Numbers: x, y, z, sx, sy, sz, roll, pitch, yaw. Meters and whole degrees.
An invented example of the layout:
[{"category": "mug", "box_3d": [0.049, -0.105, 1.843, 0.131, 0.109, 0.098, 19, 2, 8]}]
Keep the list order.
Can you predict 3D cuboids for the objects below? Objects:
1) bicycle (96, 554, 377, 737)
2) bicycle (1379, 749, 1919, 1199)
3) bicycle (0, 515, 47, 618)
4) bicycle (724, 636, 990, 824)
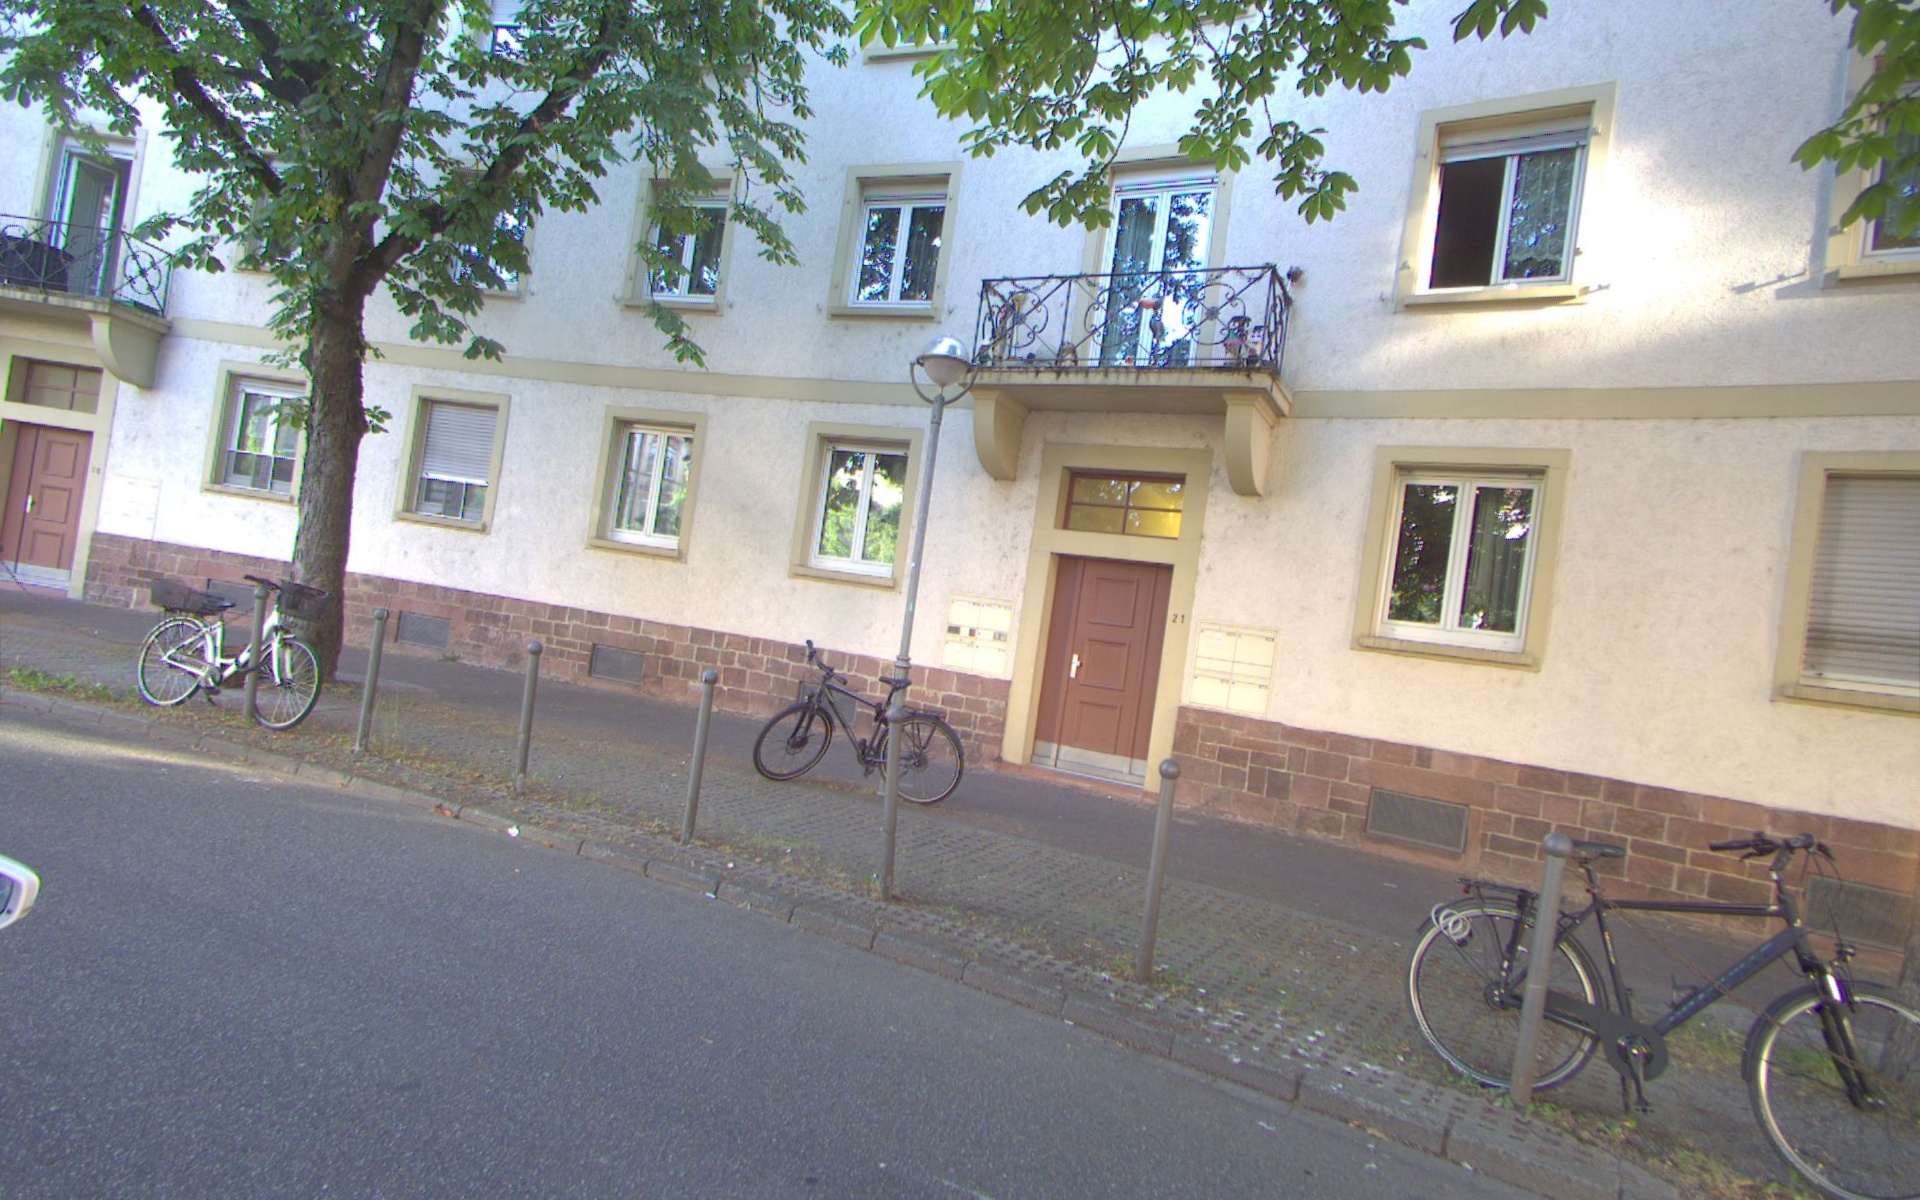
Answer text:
[{"category": "bicycle", "box_3d": [-5.633, 0.336, 7.839, 1.936, 1.109, 0.514, 8, 0, 12]}, {"category": "bicycle", "box_3d": [2.640, 1.332, 3.635, 1.881, 1.237, 0.719, 7, -1, 29]}, {"category": "bicycle", "box_3d": [-11.692, -0.502, 11.568, 1.929, 1.120, 0.670, 8, -2, 13]}, {"category": "bicycle", "box_3d": [-0.782, 0.993, 7.995, 1.823, 1.131, 0.804, 8, -1, 8]}]
